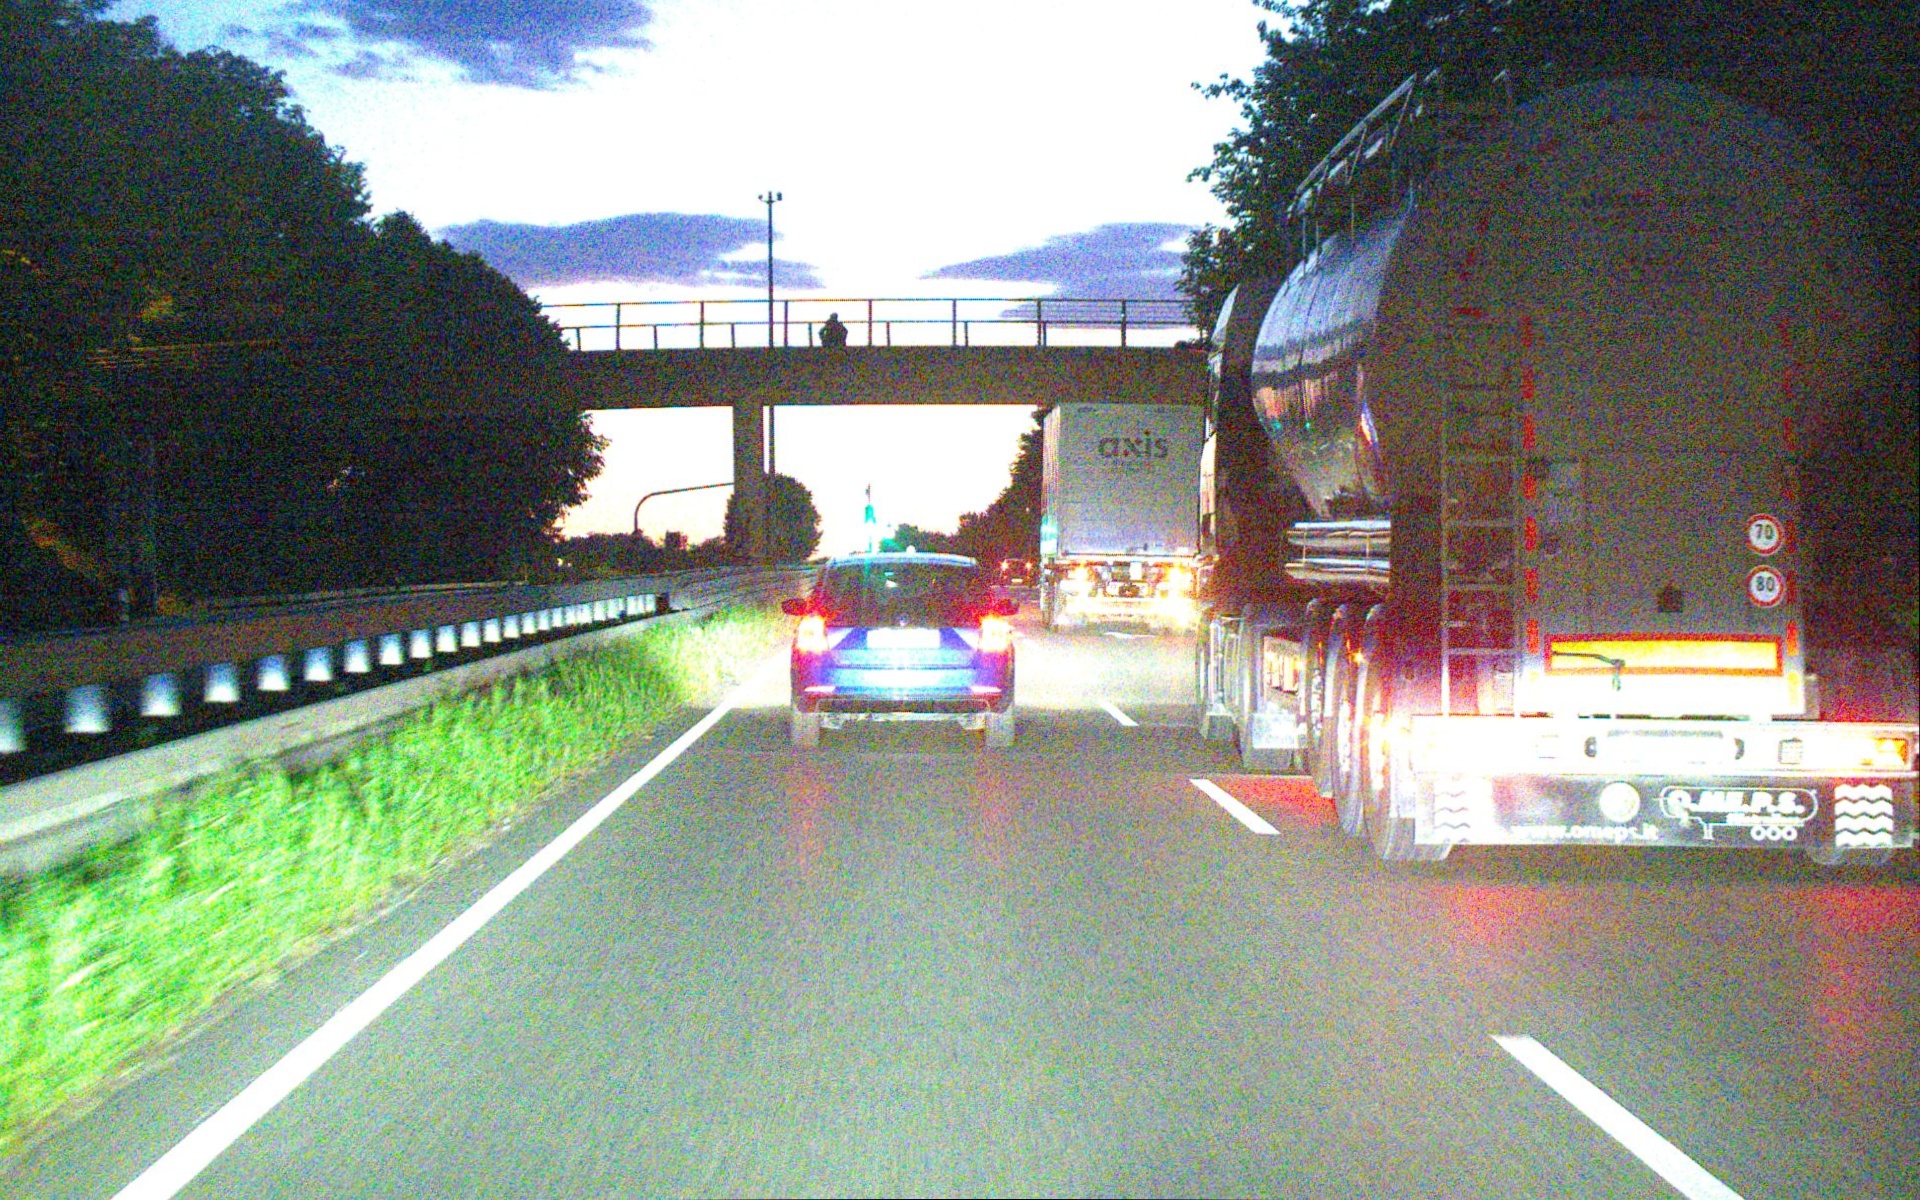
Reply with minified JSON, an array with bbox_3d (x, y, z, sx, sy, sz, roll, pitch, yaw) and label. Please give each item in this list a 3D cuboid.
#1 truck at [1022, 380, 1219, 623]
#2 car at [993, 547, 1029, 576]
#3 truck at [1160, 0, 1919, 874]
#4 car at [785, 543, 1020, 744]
[{"bbox_3d":[2.840,-1.739,64.662,2.883,4.092,12.684,0,1,-1],"label":"truck"},{"bbox_3d":[2.582,-1.941,173.908,1.695,1.447,3.914,0,1,-1],"label":"car"},{"bbox_3d":[3.148,-0.877,22.298,2.687,4.092,13.142,0,1,-1],"label":"truck"},{"bbox_3d":[-0.450,0.293,26.951,1.695,1.447,3.914,0,1,-1],"label":"car"}]
